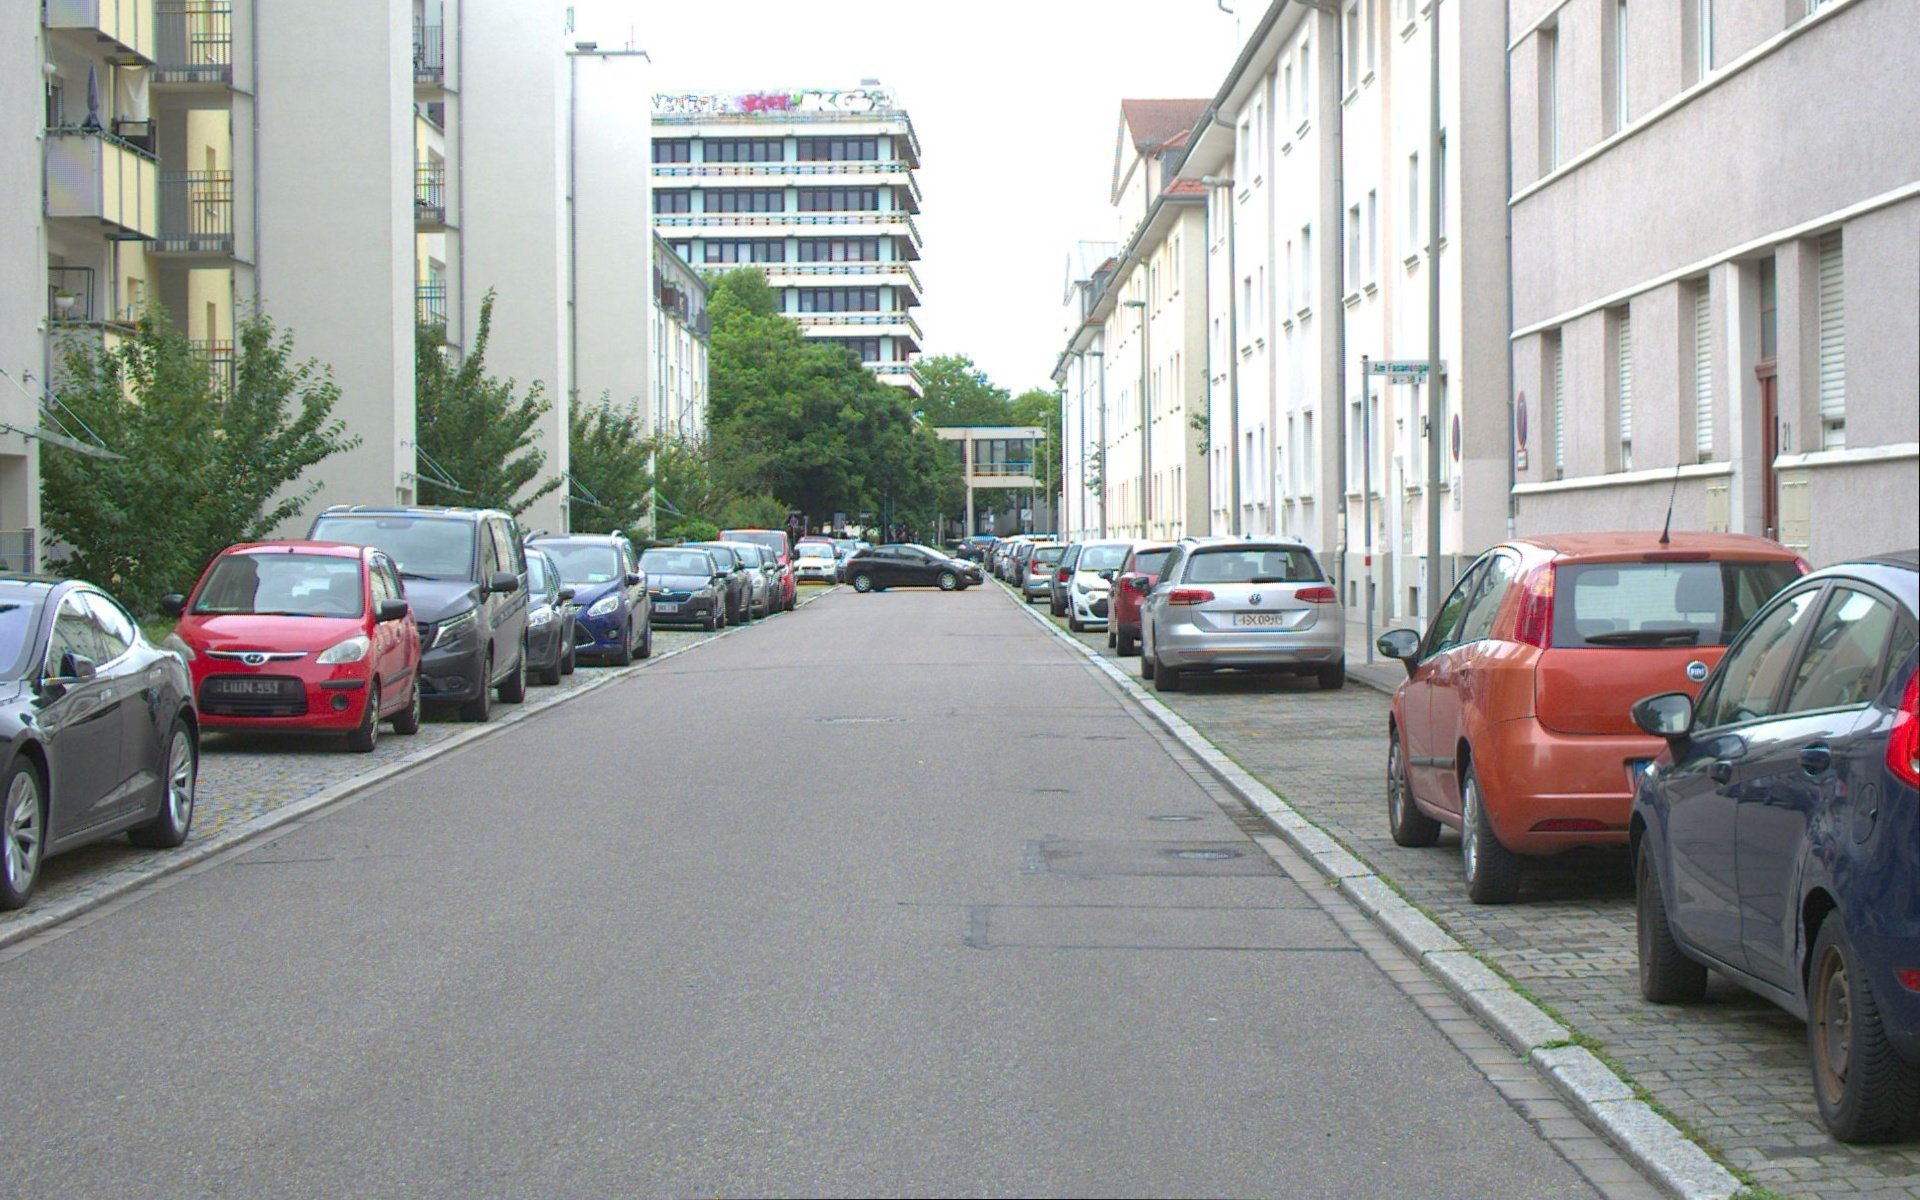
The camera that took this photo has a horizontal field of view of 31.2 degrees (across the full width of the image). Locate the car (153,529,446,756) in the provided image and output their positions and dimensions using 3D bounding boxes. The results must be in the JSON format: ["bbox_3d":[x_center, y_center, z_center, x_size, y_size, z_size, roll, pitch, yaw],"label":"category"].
[{"bbox_3d":[-5.002,0.268,26.431,1.563,1.563,3.642,2,1,-1],"label":"car"}]

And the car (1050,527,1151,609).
[{"bbox_3d":[2.754,-0.661,68.035,1.819,1.571,3.753,0,1,0],"label":"car"}]

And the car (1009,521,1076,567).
[{"bbox_3d":[2.676,-1.848,112.271,1.993,1.393,4.000,2,1,-1],"label":"car"}]

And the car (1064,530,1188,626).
[{"bbox_3d":[2.680,-0.378,56.173,1.819,1.499,3.753,0,1,0],"label":"car"}]

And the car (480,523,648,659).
[{"bbox_3d":[-4.999,-0.158,43.872,1.769,1.637,4.355,0,1,-2],"label":"car"}]

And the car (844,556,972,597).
[{"bbox_3d":[-1.581,-0.720,104.320,3.730,1.210,1.544,0,1,6],"label":"car"}]

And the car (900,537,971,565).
[{"bbox_3d":[-1.395,-2.830,197.239,3.987,1.481,2.000,2,1,0],"label":"car"}]

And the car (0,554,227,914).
[{"bbox_3d":[-4.878,0.525,16.180,1.842,1.416,4.630,1,1,0],"label":"car"}]

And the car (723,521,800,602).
[{"bbox_3d":[-4.809,-0.955,83.812,1.671,1.931,3.742,0,1,0],"label":"car"}]

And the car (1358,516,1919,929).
[{"bbox_3d":[2.821,0.420,14.990,1.696,1.520,3.826,-2,1,0],"label":"car"}]

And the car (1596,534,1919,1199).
[{"bbox_3d":[2.868,0.566,9.511,1.567,1.468,3.696,-1,1,1],"label":"car"}]

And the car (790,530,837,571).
[{"bbox_3d":[-5.311,-1.818,124.735,1.539,1.445,3.742,0,1,0],"label":"car"}]

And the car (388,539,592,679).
[{"bbox_3d":[-5.194,0.059,38.454,1.830,1.454,4.260,0,1,-2],"label":"car"}]

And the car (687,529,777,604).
[{"bbox_3d":[-4.848,-0.740,73.556,1.671,1.520,4.253,0,1,0],"label":"car"}]

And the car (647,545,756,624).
[{"bbox_3d":[-4.612,-0.300,61.692,1.671,1.347,3.817,0,1,0],"label":"car"}]

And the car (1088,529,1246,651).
[{"bbox_3d":[2.617,-0.163,44.227,1.670,1.415,4.000,-2,1,-1],"label":"car"}]

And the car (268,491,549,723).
[{"bbox_3d":[-4.945,-0.003,31.470,1.879,1.897,5.031,2,1,-2],"label":"car"}]

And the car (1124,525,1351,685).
[{"bbox_3d":[2.666,-0.007,33.953,1.755,1.462,4.601,0,1,-1],"label":"car"}]

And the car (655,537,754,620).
[{"bbox_3d":[-4.959,-0.443,67.027,1.671,1.558,3.664,0,1,0],"label":"car"}]

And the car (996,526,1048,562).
[{"bbox_3d":[2.542,-2.311,141.884,1.993,1.393,4.000,2,1,-1],"label":"car"}]

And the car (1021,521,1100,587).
[{"bbox_3d":[2.466,-1.155,84.881,1.819,1.571,3.884,0,1,0],"label":"car"}]
